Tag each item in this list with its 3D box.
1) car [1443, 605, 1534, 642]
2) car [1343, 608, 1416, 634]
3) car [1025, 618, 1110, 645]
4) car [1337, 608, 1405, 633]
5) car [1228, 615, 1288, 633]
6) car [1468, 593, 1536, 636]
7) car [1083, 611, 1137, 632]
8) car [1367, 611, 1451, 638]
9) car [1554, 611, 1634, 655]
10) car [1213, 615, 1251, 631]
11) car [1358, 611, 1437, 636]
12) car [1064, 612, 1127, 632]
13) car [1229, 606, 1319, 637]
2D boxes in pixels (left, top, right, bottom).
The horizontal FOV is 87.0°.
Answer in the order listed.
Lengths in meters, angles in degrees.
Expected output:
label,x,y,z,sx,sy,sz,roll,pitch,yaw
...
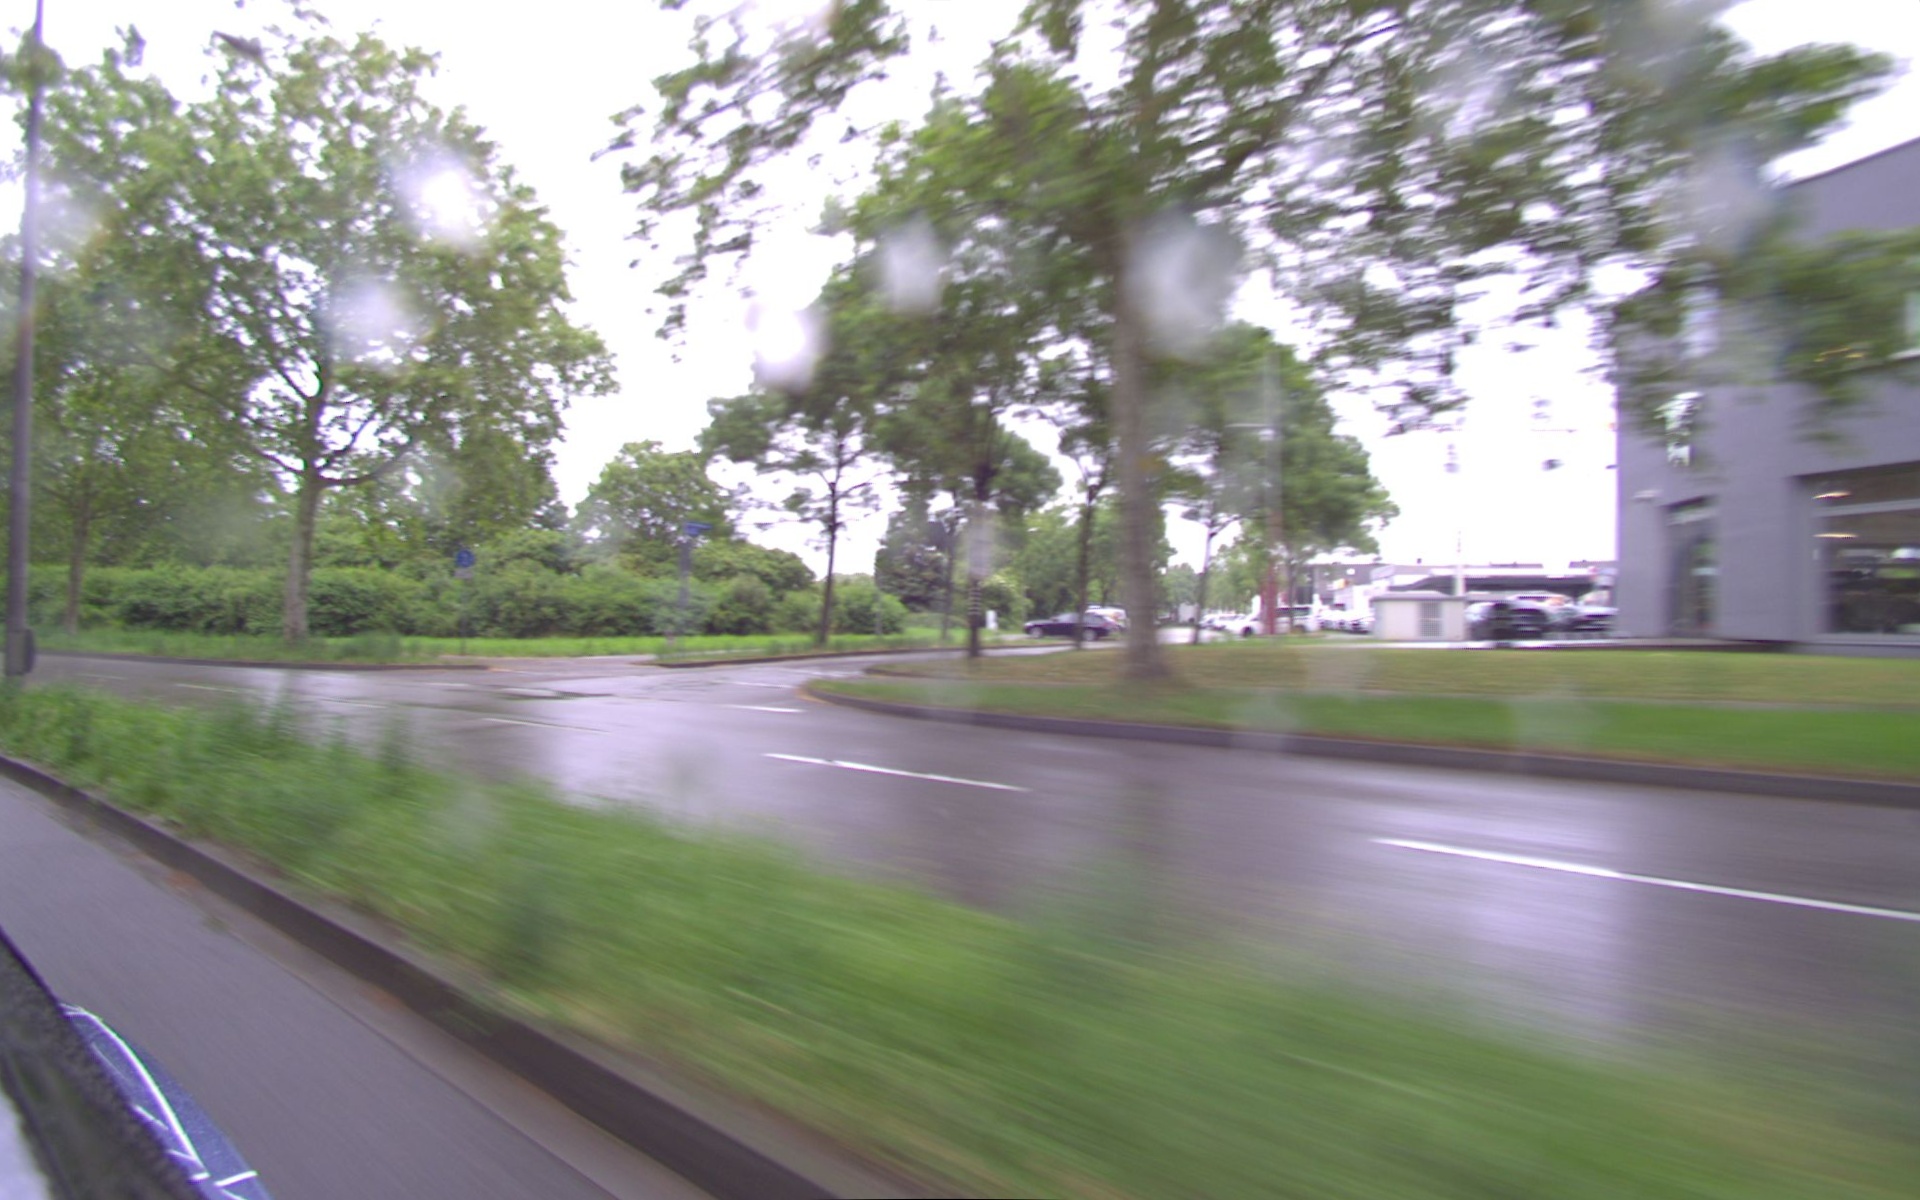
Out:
label,x,y,z,sx,sy,sz,roll,pitch,yaw
car,27.249,1.185,52.165,4.132,1.827,1.824,0,-1,-20
car,27.265,1.371,65.880,4.163,1.669,1.591,-1,-1,14
car,5.685,1.651,53.340,4.254,1.368,1.590,-1,-1,16
car,28.602,1.421,70.483,4.163,1.669,1.591,-1,-1,14
car,21.971,1.769,74.683,4.167,1.368,1.590,-1,-1,16
car,19.992,0.539,37.471,1.586,1.506,4.177,-1,-1,20
car,12.081,1.740,81.651,4.167,1.640,1.590,-1,-1,16
car,25.935,1.406,58.592,4.163,1.506,1.591,-1,-1,14
car,23.208,1.169,37.171,1.586,1.506,4.177,-1,-1,20
car,30.578,2.577,113.812,4.167,1.776,1.590,-1,-1,16
car,26.352,1.431,61.080,4.163,1.506,1.591,-1,-1,14
car,9.406,1.511,70.233,4.167,1.368,1.590,-1,-1,16
car,19.230,1.305,62.205,5.182,1.878,1.785,-1,-1,15
